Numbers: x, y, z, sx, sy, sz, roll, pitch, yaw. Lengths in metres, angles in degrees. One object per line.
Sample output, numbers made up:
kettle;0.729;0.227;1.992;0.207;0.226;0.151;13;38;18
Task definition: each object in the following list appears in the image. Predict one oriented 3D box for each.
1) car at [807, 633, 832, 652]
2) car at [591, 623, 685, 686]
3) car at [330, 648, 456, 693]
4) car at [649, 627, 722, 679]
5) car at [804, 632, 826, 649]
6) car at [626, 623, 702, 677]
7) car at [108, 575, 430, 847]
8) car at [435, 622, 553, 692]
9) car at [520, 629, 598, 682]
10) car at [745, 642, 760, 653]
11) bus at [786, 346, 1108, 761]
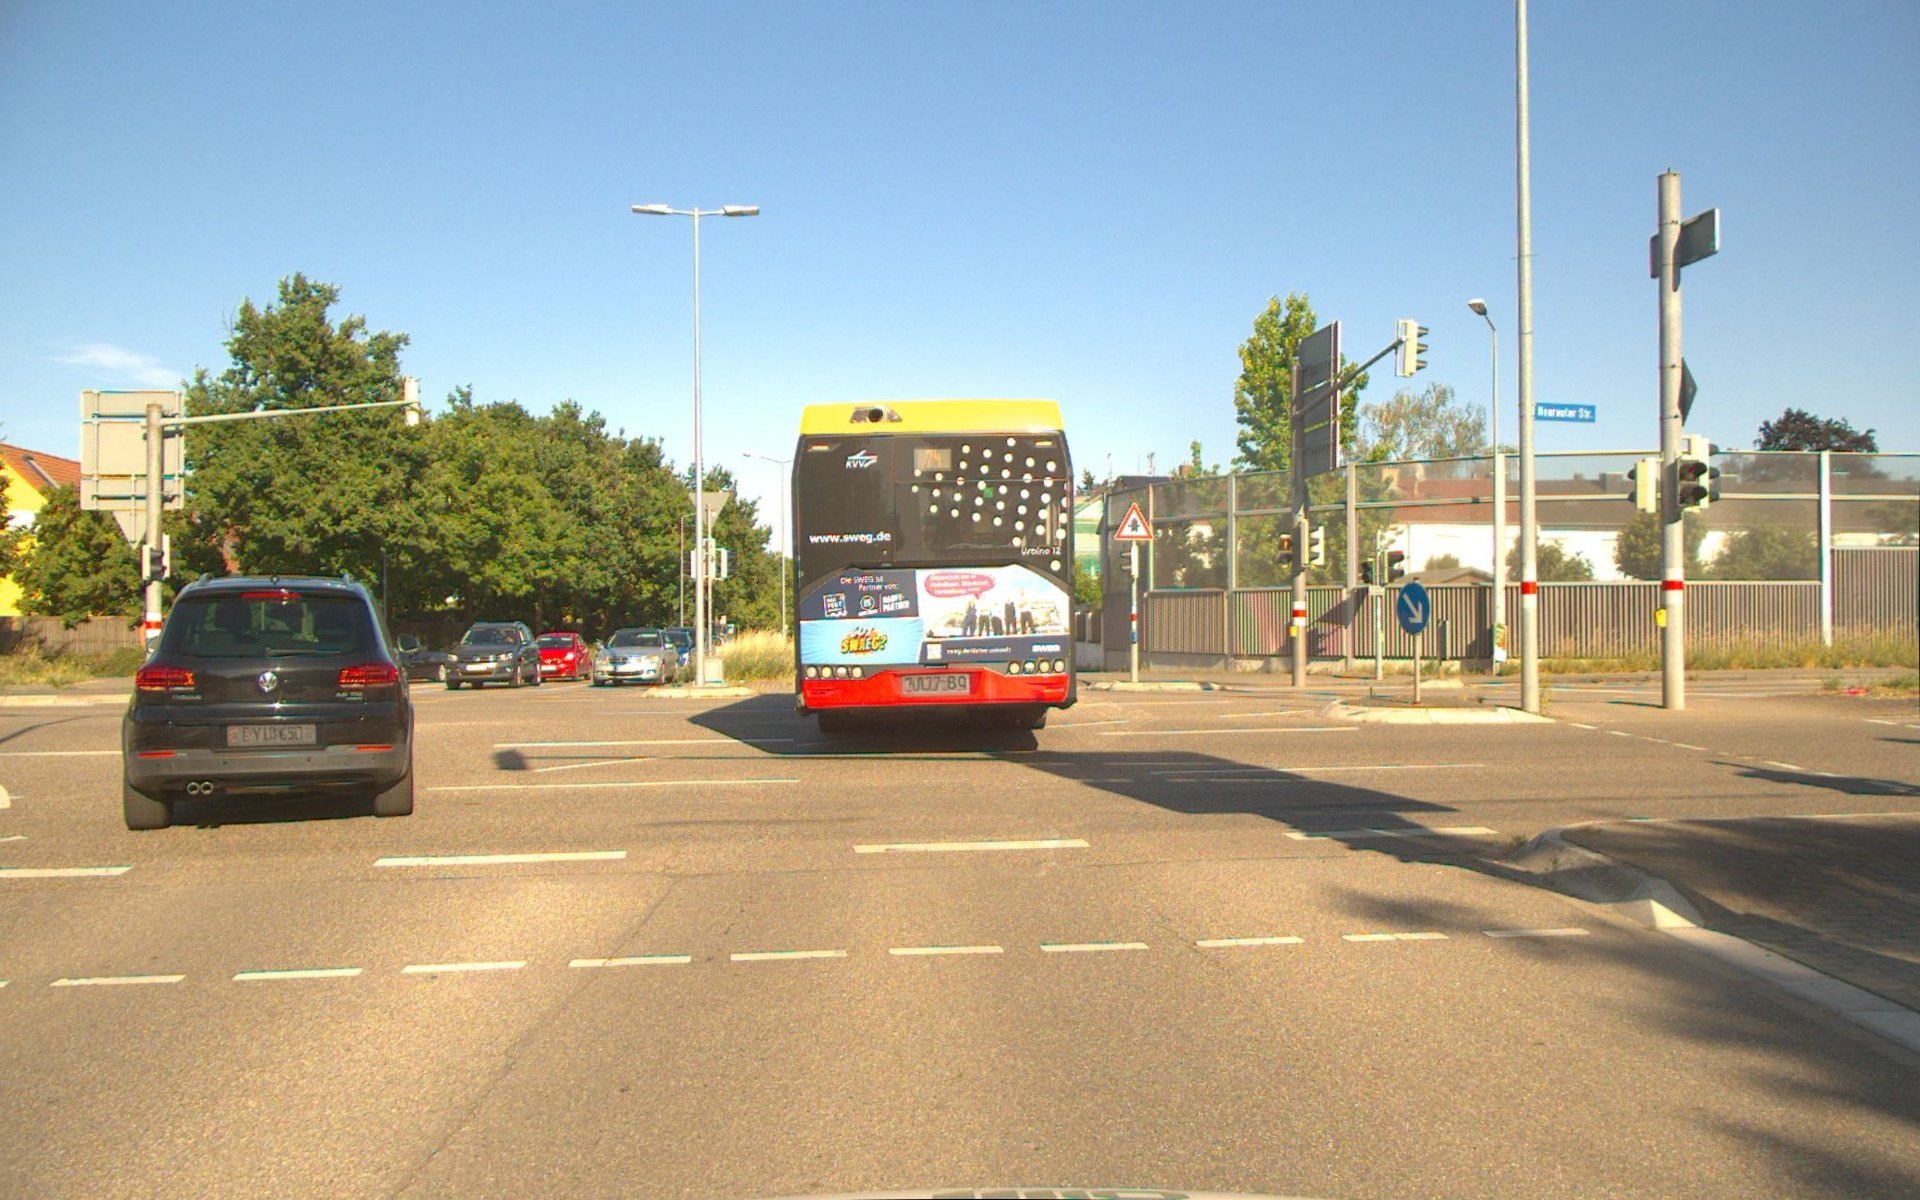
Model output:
car;-12.727;3.862;149.808;1.900;1.734;3.990;0;-2;-10
car;-8.301;1.388;42.937;1.757;1.532;4.527;-1;-1;-3
car;-17.699;2.216;51.888;1.998;1.332;4.685;-1;-3;5
car;-9.164;1.740;55.578;1.954;1.644;4.526;-1;-1;-4
car;-15.110;4.200;172.117;1.898;1.773;3.990;0;-2;-10
car;-8.690;1.458;48.831;1.712;1.509;3.885;-1;-1;-3
car;-4.925;0.651;12.298;1.798;1.655;3.982;0;1;-17
car;-11.914;1.430;42.587;1.954;1.673;4.527;-1;-1;-3
car;-12.047;1.639;49.863;1.612;1.509;3.710;-1;-1;-3
car;-30.074;6.880;239.670;1.898;1.569;3.990;0;-2;-10
bus;-0.382;-0.401;20.389;2.702;3.518;12.391;-1;0;-3
